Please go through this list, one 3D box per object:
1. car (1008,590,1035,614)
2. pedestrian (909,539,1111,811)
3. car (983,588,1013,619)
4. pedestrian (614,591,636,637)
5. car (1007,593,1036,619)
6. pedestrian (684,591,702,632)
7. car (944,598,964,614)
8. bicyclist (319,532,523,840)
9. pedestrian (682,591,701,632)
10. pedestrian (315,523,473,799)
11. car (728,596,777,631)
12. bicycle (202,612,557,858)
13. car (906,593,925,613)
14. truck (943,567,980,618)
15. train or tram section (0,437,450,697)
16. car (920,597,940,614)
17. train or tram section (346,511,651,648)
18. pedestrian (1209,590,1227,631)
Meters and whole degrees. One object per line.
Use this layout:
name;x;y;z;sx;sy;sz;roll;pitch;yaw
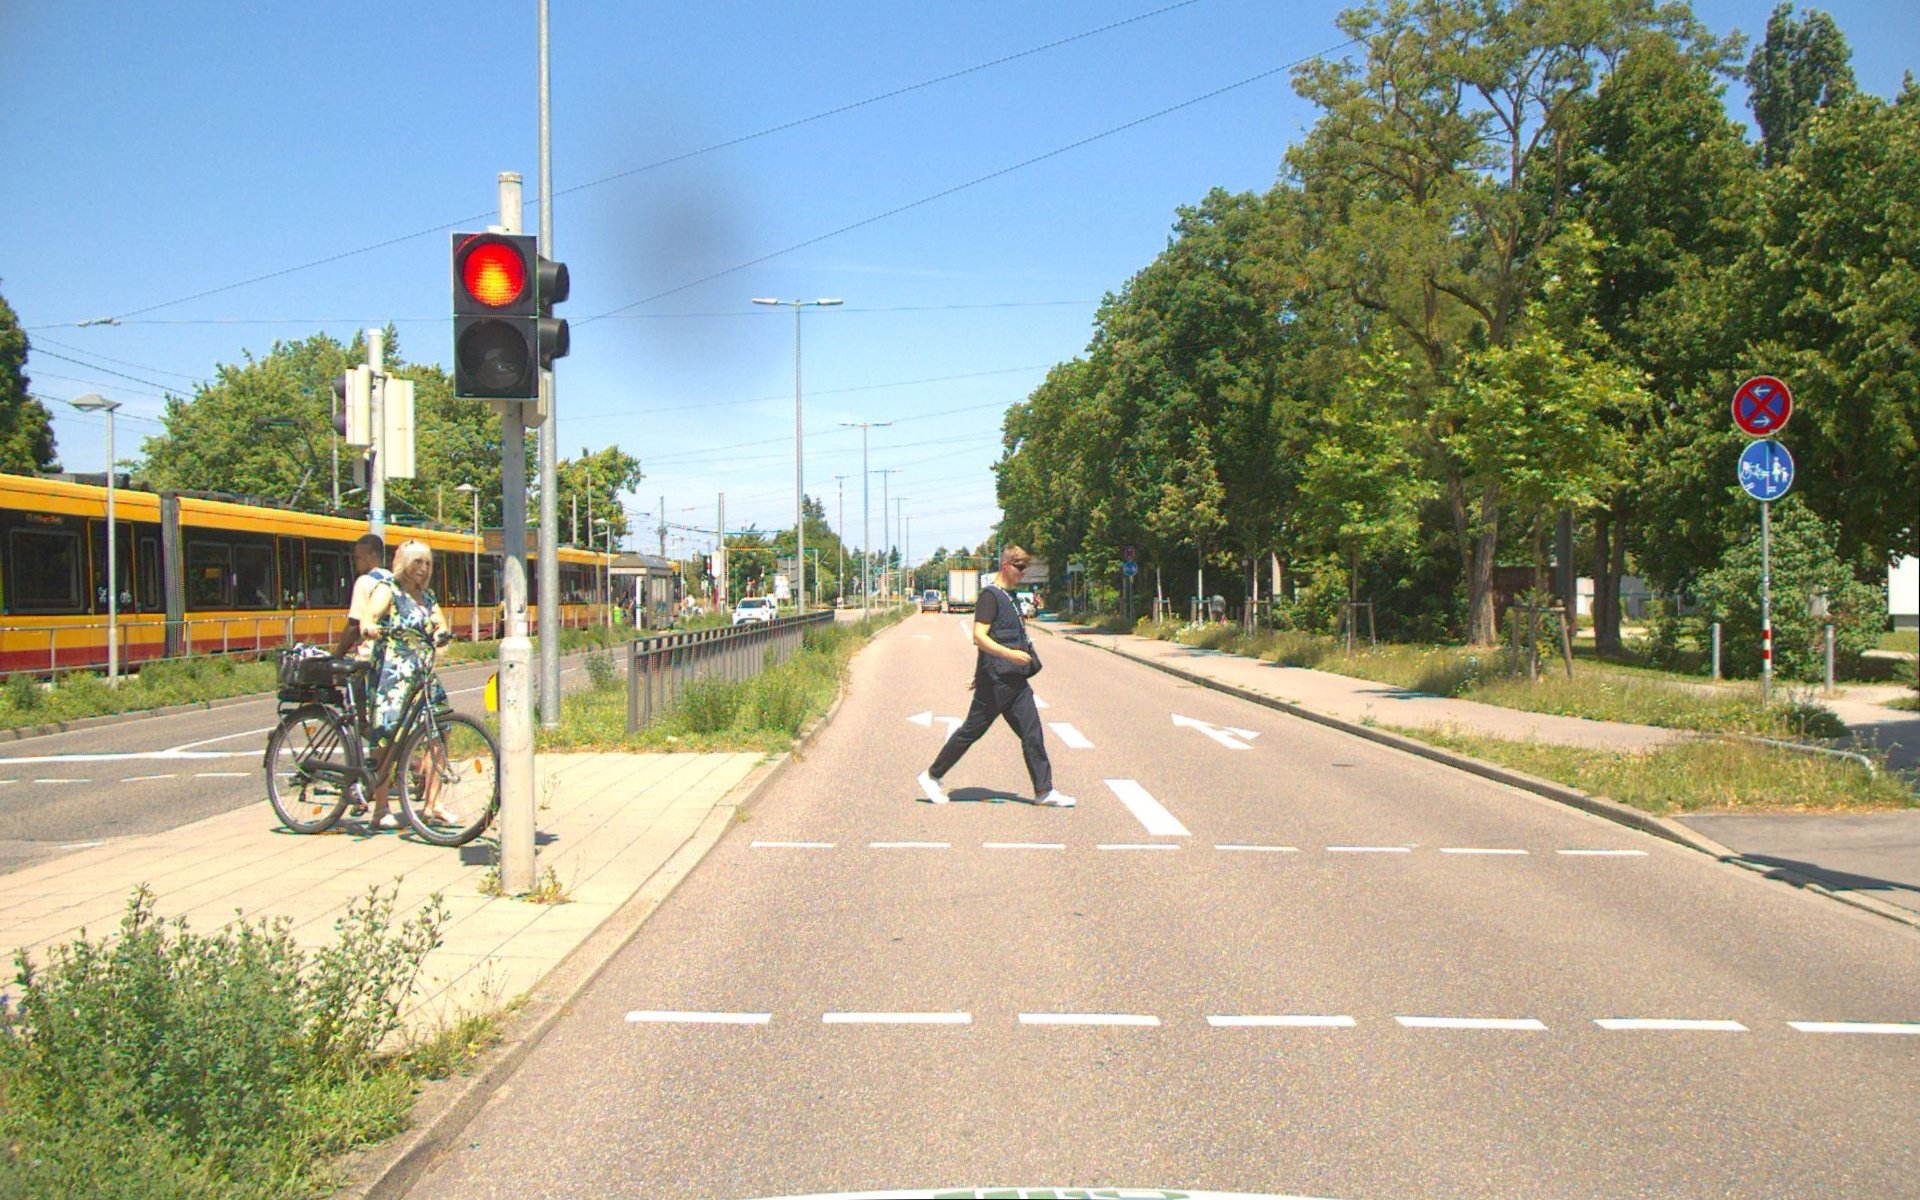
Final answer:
car;4.408;0.109;118.859;1.743;1.698;3.999;0;0;-1
pedestrian;0.357;0.508;11.693;1.162;1.809;0.838;0;-2;30
car;2.418;0.211;105.499;1.743;1.937;3.999;0;0;-1
pedestrian;-13.958;0.583;68.968;0.769;1.901;0.817;0;0;-1
car;4.184;0.389;112.507;1.743;1.698;3.999;0;0;-1
pedestrian;-13.464;0.582;83.444;0.798;2.049;0.938;0;0;-1
car;-0.587;0.551;153.604;1.774;1.490;3.999;0;0;-1
bicyclist;-3.151;0.474;9.693;0.937;1.695;0.581;3;2;17
pedestrian;-13.741;0.582;84.734;0.798;2.049;0.938;0;0;-1
pedestrian;-3.827;0.393;11.232;0.823;1.808;0.720;1;2;-1
car;-9.329;0.600;74.640;1.807;1.521;3.790;0;0;-1
bicycle;-3.276;0.723;9.314;1.916;1.181;0.541;3;2;17
car;-4.695;0.319;175.094;1.953;2.049;3.999;0;0;-1
truck;0.073;-0.653;146.126;3.140;4.435;6.559;0;0;-1
train or tram section;-15.655;-0.508;31.652;2.897;3.815;30.027;0;0;-1
car;-2.675;0.459;147.071;1.774;1.490;3.999;0;0;-1
train or tram section;-16.112;-0.639;63.211;2.871;3.856;33.081;0;0;-1
pedestrian;9.353;0.387;59.973;0.591;1.463;0.556;0;0;6
